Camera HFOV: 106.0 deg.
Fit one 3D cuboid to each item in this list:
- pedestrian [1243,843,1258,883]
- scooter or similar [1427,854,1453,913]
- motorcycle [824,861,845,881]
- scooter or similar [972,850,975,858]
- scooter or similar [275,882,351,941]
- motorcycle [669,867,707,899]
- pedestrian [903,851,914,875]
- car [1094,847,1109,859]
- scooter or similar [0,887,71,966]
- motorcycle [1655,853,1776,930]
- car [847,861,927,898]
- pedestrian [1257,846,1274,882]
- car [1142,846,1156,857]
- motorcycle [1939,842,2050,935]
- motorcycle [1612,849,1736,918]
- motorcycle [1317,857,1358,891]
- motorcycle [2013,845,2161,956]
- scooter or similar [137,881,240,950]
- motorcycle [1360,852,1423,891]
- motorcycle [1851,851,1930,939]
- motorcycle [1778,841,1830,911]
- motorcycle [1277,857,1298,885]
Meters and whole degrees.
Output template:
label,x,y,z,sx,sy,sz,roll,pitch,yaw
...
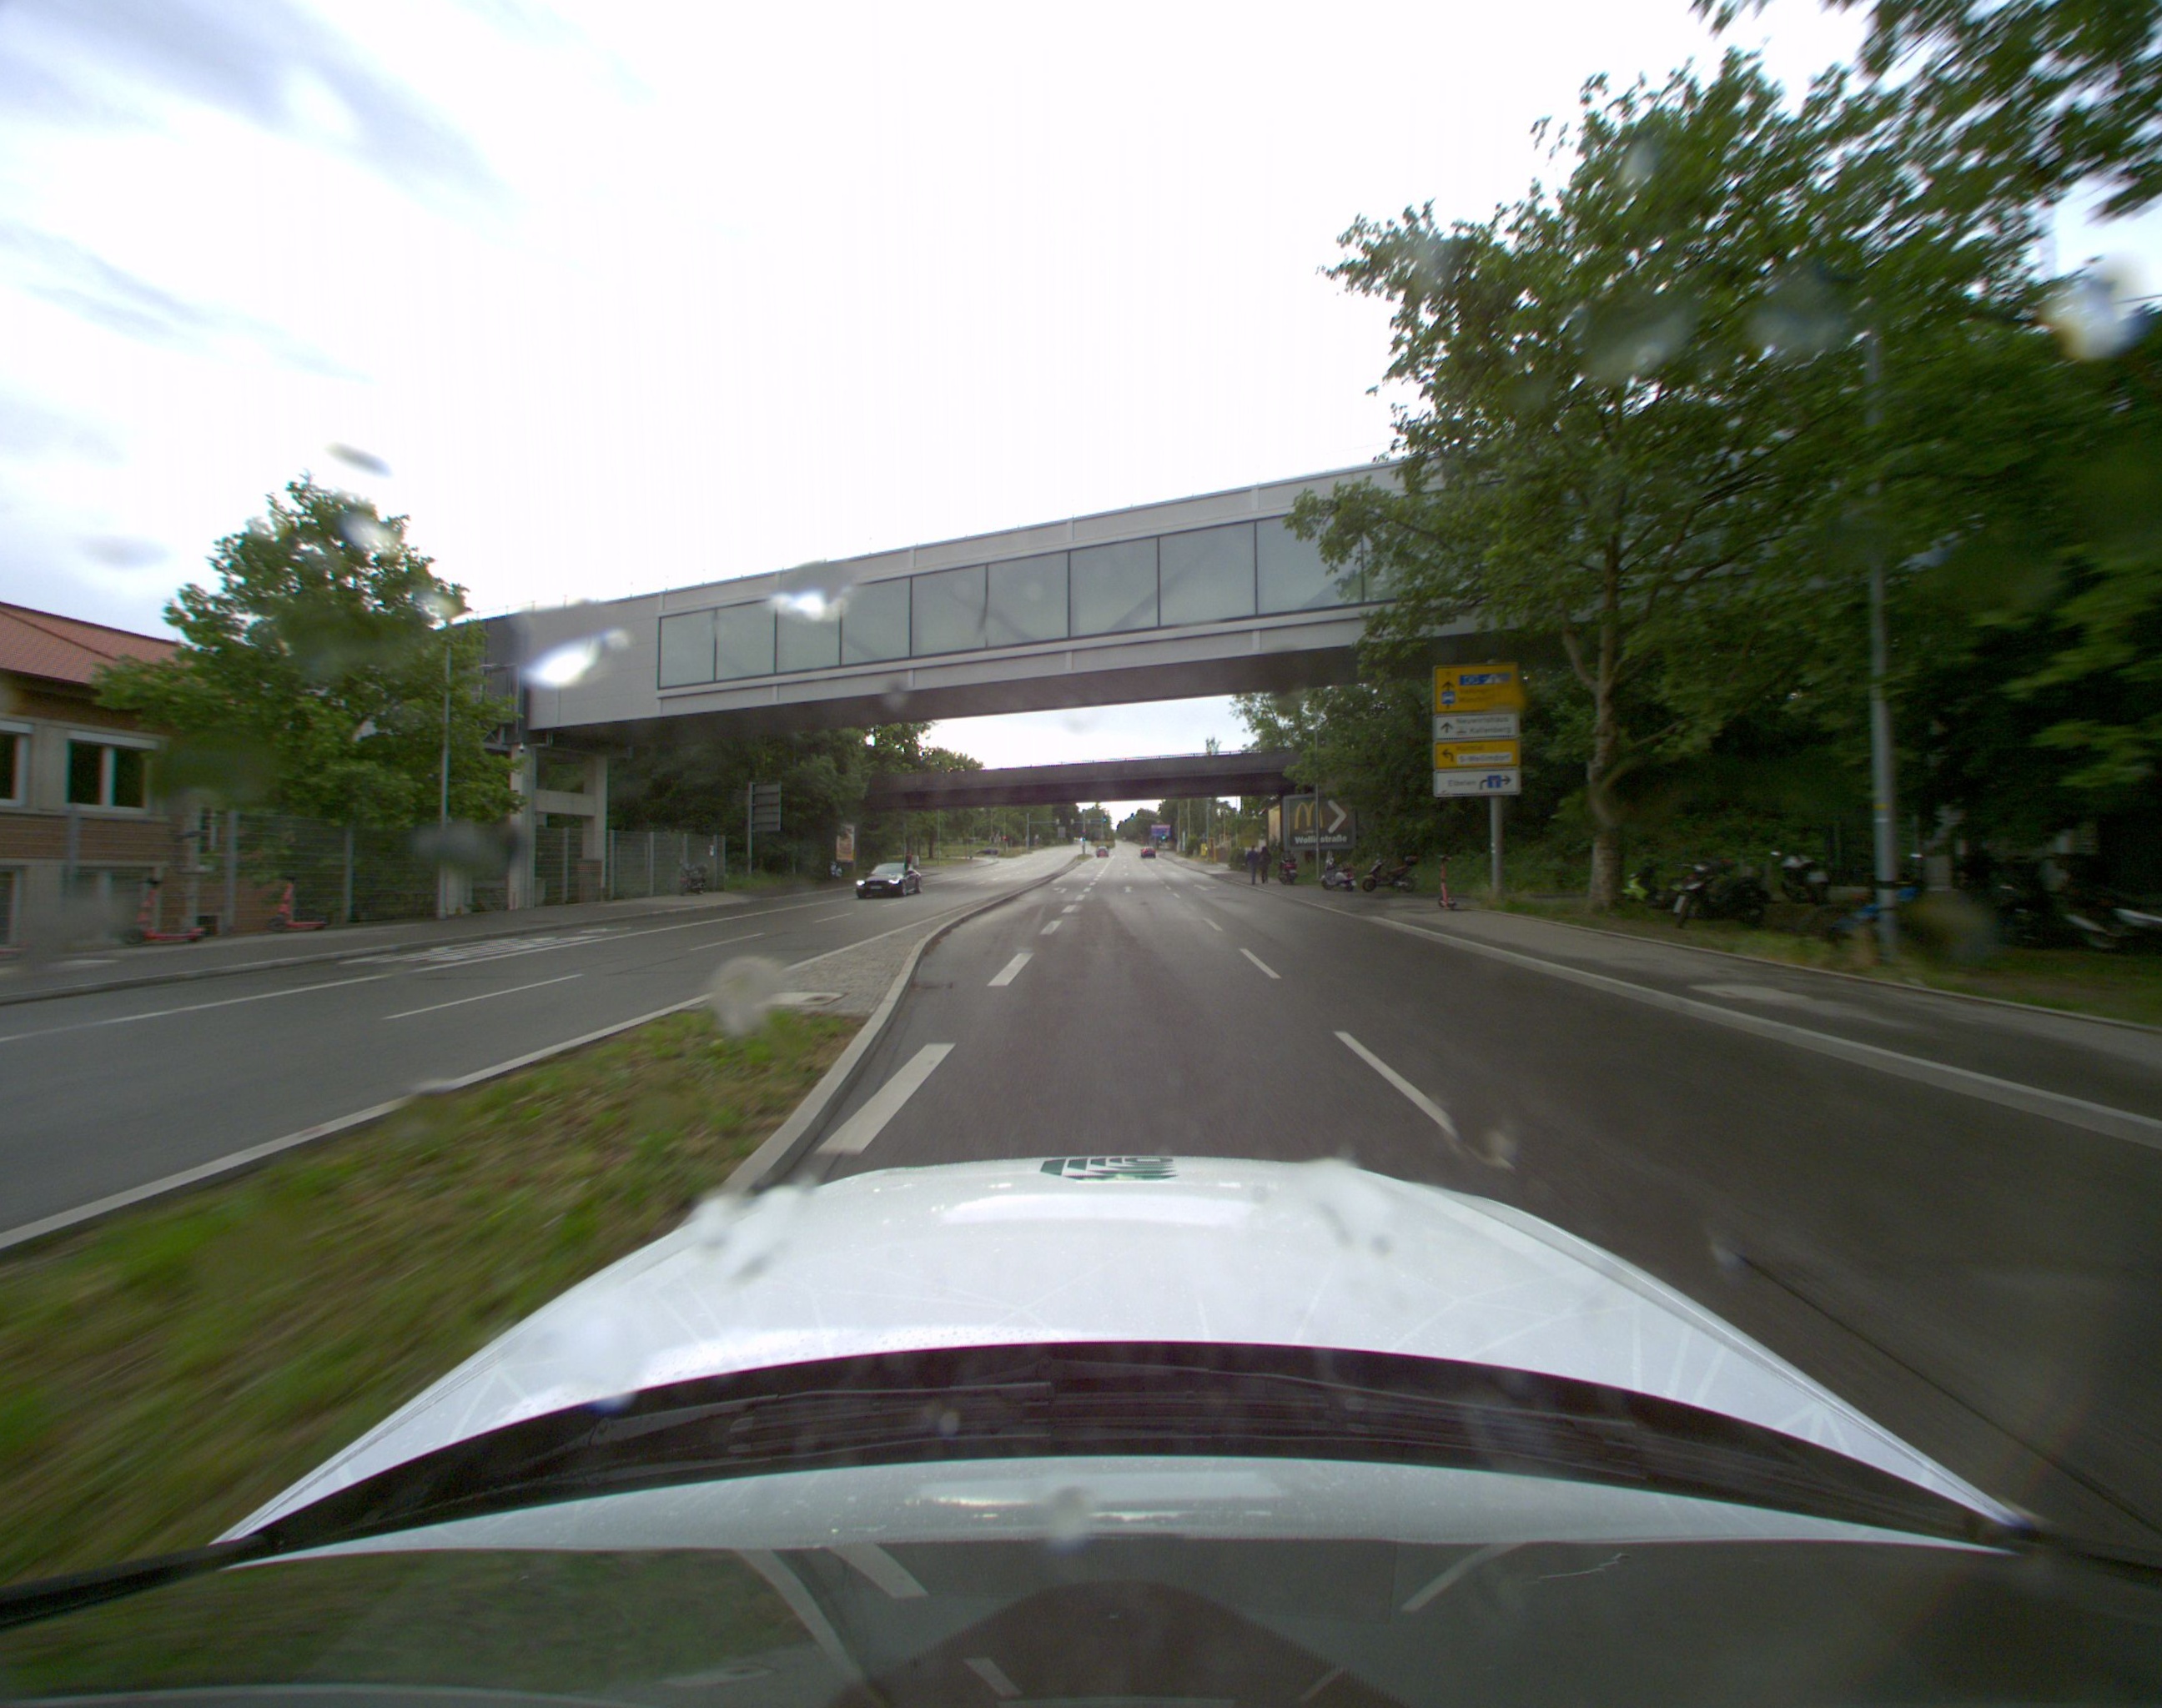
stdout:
label,x,y,z,sx,sy,sz,roll,pitch,yaw
pedestrian,7.542,0.395,36.163,0.607,1.721,0.895,-1,0,13
scooter or similar,8.191,0.663,18.591,0.309,1.299,1.313,-1,-1,14
motorcycle,-15.276,1.065,50.456,0.466,1.158,1.935,-1,0,6
scooter or similar,-16.047,0.001,121.562,0.311,1.218,1.303,-1,1,-11
scooter or similar,-16.968,1.249,18.023,0.309,1.218,1.311,-1,0,8
motorcycle,-16.232,1.171,33.686,0.466,1.205,1.998,-1,0,3
pedestrian,-13.150,0.710,62.164,0.516,1.816,0.802,0,0,13
car,3.106,-0.189,123.629,2.069,1.718,4.199,1,-1,1
scooter or similar,-17.258,1.171,13.105,0.310,1.218,1.309,-1,0,3
motorcycle,11.050,0.628,14.192,1.850,1.253,0.627,-1,0,-13
car,-8.075,1.026,34.400,2.056,1.361,4.759,-1,0,2
pedestrian,8.141,0.439,35.897,0.646,1.596,0.581,-1,0,14
car,9.303,-0.339,111.596,1.738,1.470,4.169,0,1,2
motorcycle,13.675,0.476,12.256,0.515,1.279,2.295,-2,-1,34
motorcycle,11.526,0.550,15.882,0.632,1.253,1.835,-1,0,-32
motorcycle,9.481,0.719,30.172,0.470,1.213,1.934,-1,0,-16
motorcycle,12.834,0.541,9.951,0.643,1.279,1.992,-1,-1,3
scooter or similar,-17.040,1.147,15.586,0.309,1.218,1.313,-1,0,15
motorcycle,10.787,0.601,28.311,1.919,1.297,0.551,-2,0,38
motorcycle,12.797,0.599,12.915,0.515,1.279,1.866,-1,0,34
motorcycle,14.047,0.397,15.852,0.345,1.279,2.084,-1,0,31
motorcycle,8.745,0.717,34.567,0.467,1.136,1.820,-1,0,3
